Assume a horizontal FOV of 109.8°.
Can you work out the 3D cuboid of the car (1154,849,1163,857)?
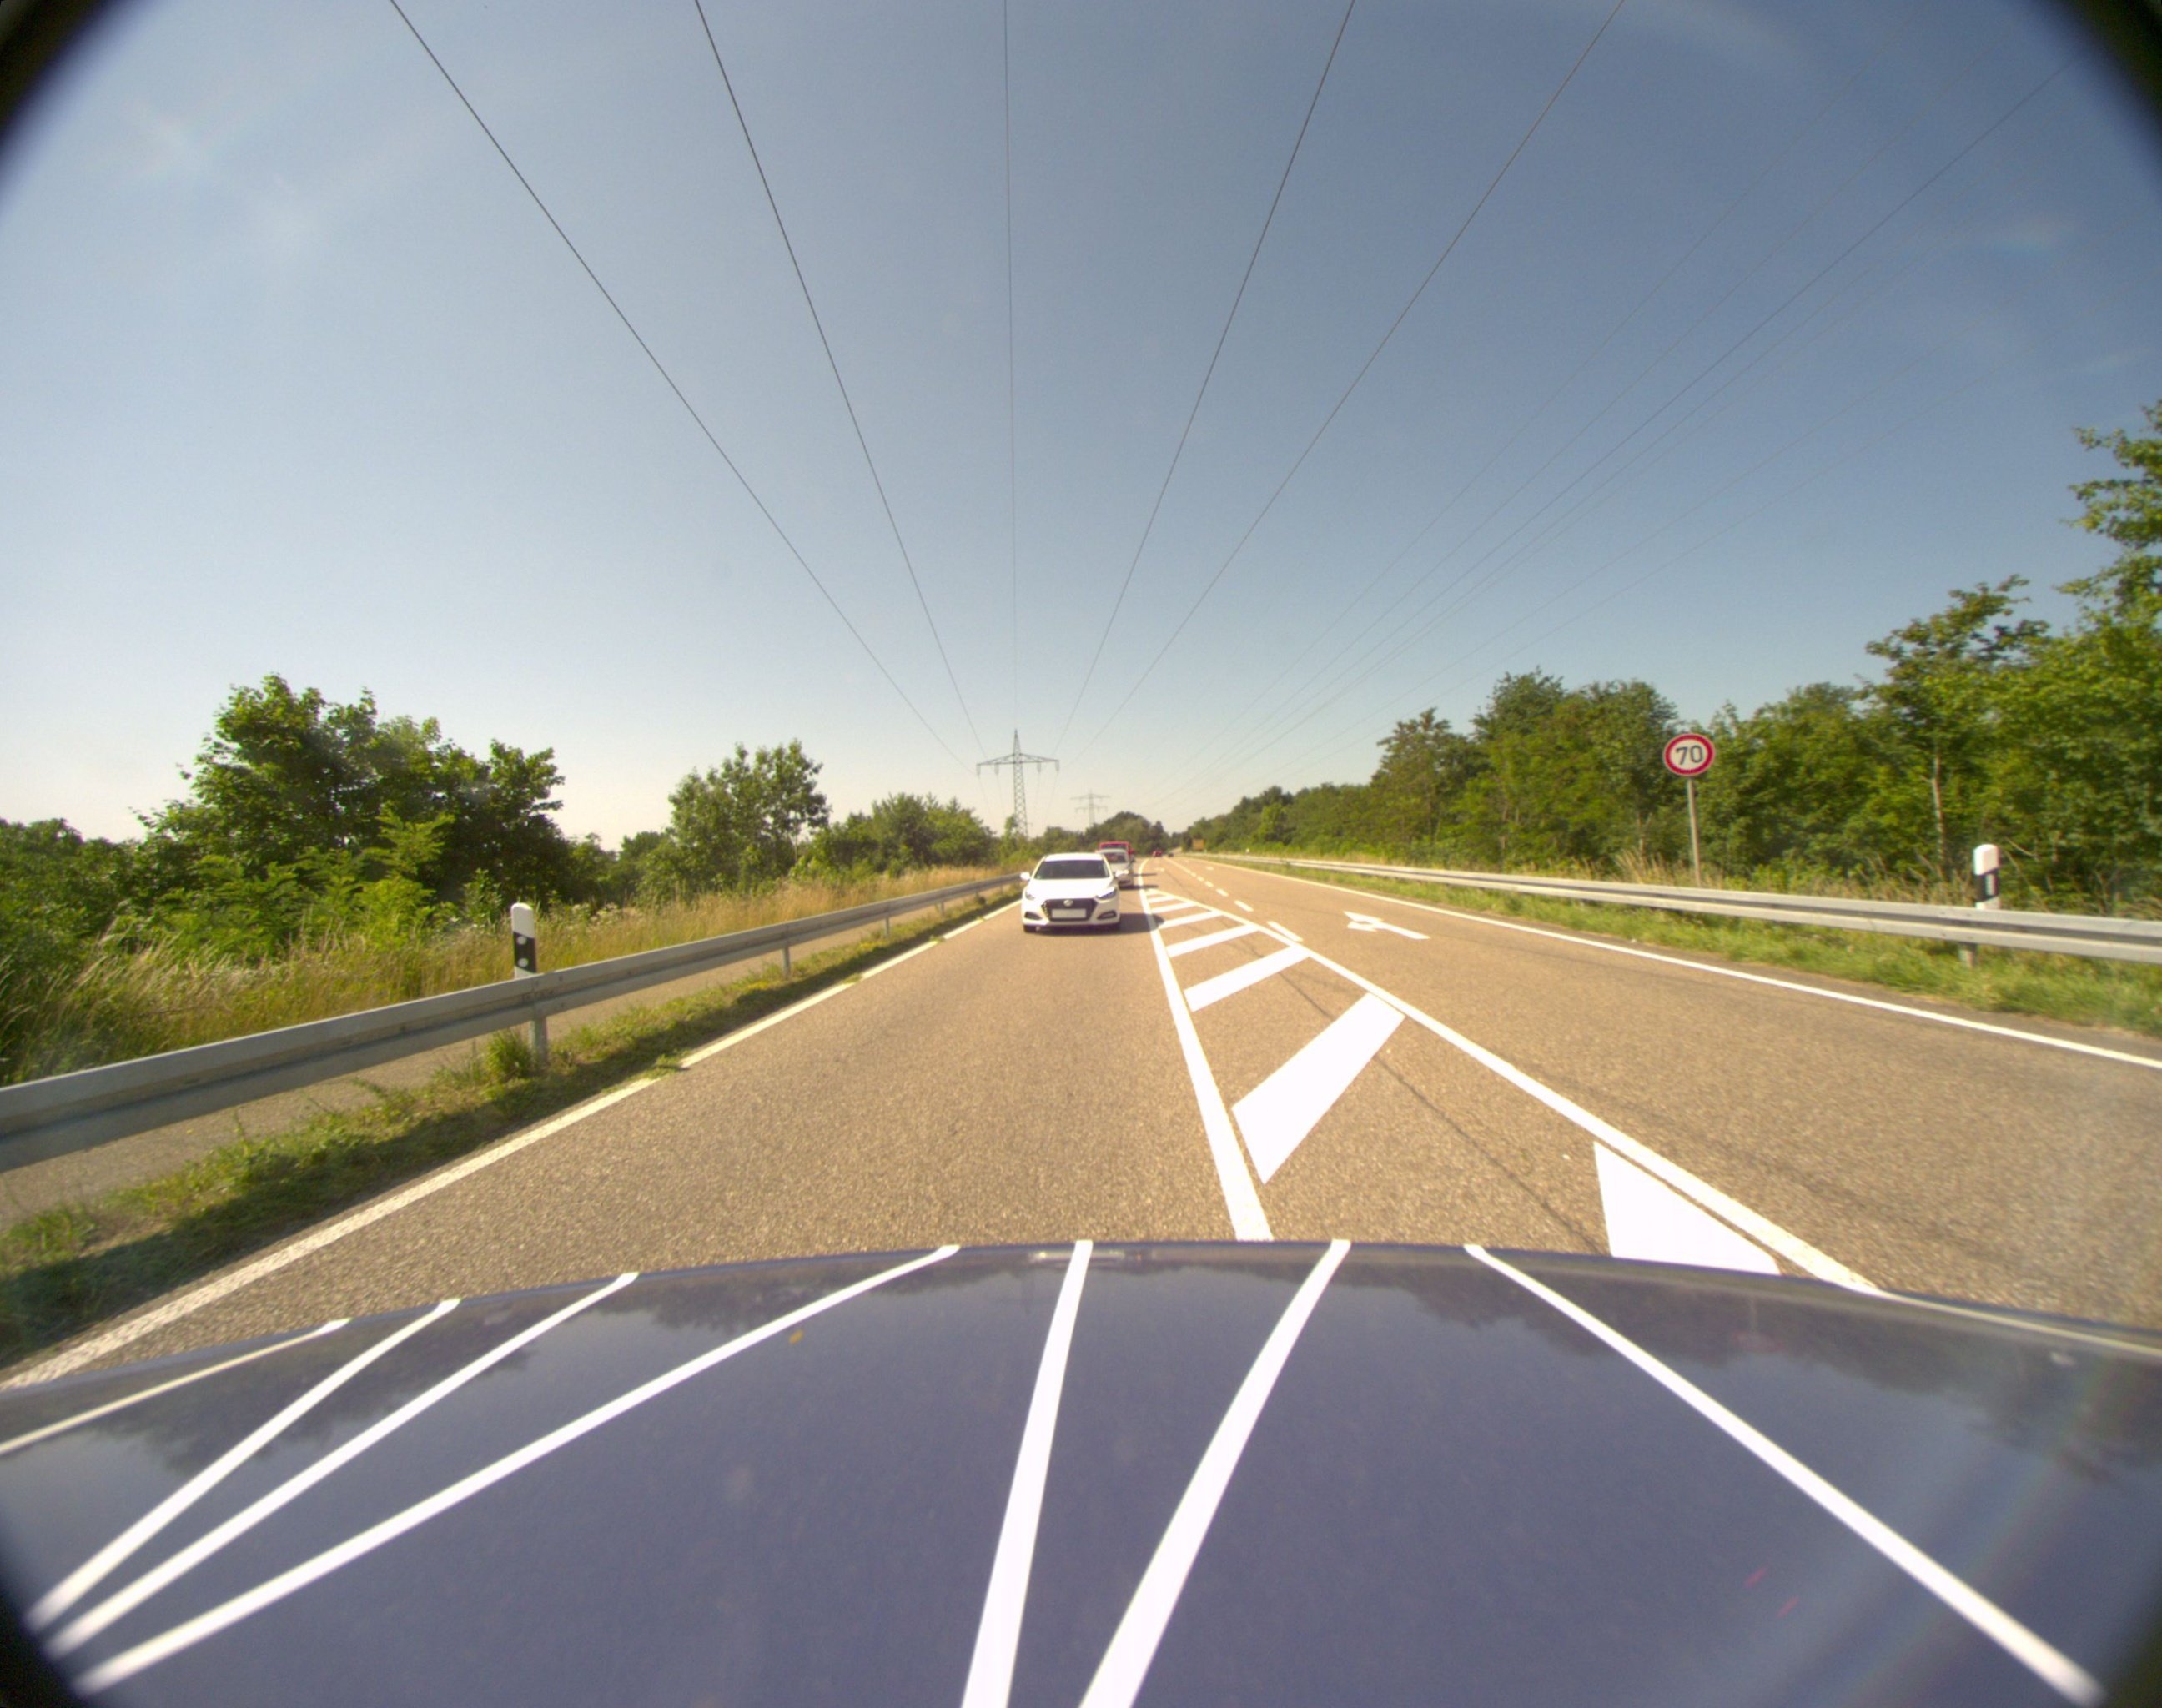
[{"bbox_3d":[16.815,-0.217,165.855,1.833,1.574,4.001,0,1,4],"label":"car"}]

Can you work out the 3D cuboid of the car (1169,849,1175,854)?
[{"bbox_3d":[29.118,-0.941,242.226,1.832,1.574,4.002,0,1,7],"label":"car"}]

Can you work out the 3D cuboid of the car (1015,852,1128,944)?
[{"bbox_3d":[-0.054,0.766,15.615,1.922,1.496,4.794,-2,1,3],"label":"car"}]

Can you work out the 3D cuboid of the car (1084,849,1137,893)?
[{"bbox_3d":[1.213,0.621,30.821,1.922,1.540,4.794,-2,1,3],"label":"car"}]

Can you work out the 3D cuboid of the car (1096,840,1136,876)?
[{"bbox_3d":[2.068,0.208,44.969,2.126,1.934,5.019,-2,1,3],"label":"car"}]
